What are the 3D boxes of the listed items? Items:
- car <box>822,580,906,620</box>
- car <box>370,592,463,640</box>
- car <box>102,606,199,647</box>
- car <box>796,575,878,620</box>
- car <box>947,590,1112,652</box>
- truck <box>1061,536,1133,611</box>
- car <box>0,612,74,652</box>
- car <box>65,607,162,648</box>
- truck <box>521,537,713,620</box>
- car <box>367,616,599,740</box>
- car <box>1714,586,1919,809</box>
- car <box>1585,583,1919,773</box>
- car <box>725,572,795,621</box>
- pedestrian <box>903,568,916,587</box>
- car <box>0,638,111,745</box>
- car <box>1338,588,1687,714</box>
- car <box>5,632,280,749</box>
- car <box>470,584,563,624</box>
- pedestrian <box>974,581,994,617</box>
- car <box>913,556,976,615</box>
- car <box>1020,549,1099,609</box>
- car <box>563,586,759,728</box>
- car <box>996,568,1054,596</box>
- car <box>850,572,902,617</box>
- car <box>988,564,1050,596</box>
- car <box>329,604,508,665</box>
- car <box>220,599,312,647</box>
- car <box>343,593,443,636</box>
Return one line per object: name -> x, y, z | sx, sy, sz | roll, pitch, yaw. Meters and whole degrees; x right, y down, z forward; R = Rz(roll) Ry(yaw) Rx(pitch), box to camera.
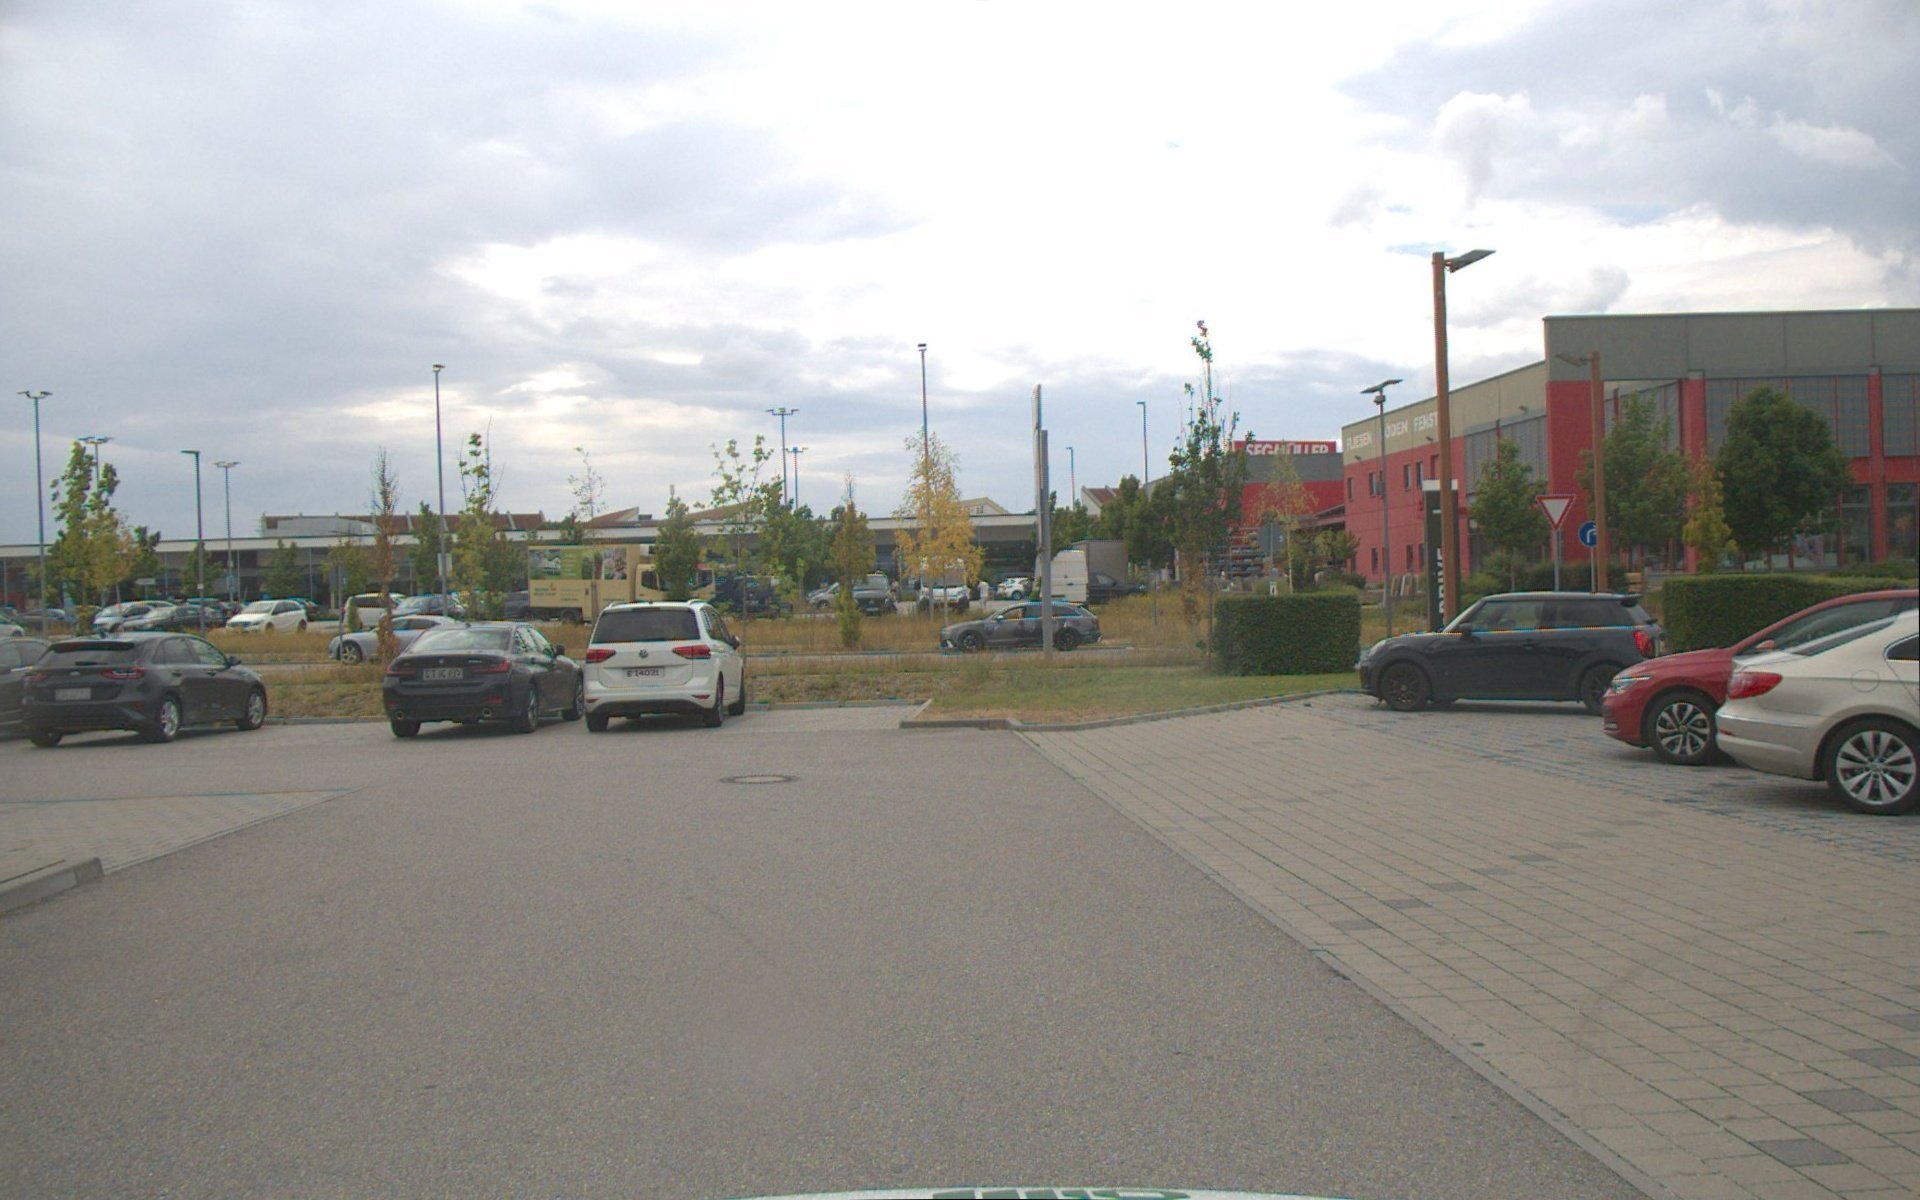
car -> -4.594, -0.014, 79.443 | 3.908, 1.768, 1.890 | -2, 2, -3
car -> -23.062, 0.643, 70.331 | 1.884, 1.802, 4.326 | -2, 2, 10
car -> -35.615, 1.154, 72.907 | 1.728, 1.566, 4.059 | -2, 2, 10
car -> -6.213, -0.152, 83.624 | 3.915, 2.048, 1.995 | -2, 2, -10
car -> 2.036, 0.609, 48.904 | 4.738, 1.579, 1.803 | -2, 2, 1
truck -> 7.380, -1.489, 89.947 | 2.596, 3.808, 8.251 | -2, 2, -4
car -> -42.241, 1.416, 74.143 | 1.952, 1.566, 4.162 | -1, 2, 19
car -> -37.738, 1.197, 73.839 | 1.728, 1.566, 4.059 | -2, 2, 10
truck -> -14.476, -0.882, 69.579 | 8.260, 3.251, 3.020 | -1, 2, 35
car -> -6.412, 1.025, 22.778 | 1.902, 1.492, 4.515 | -1, -2, -1
car -> 7.476, 0.617, 10.830 | 4.370, 1.437, 1.747 | -1, 0, 36
car -> 7.557, 0.612, 14.032 | 3.922, 1.490, 1.680 | -1, 0, 38
car -> -8.287, -0.139, 69.101 | 2.028, 1.917, 5.072 | -1, 0, 3
pedestrian -> -3.885, -1.725, 128.008 | 0.647, 1.454, 0.787 | -3, 2, -40
car -> -14.185, 1.300, 23.373 | 1.866, 1.482, 4.742 | -1, -2, 1
car -> 6.889, 0.596, 20.751 | 3.849, 1.437, 1.682 | -1, 0, 34
car -> -11.226, 1.206, 23.054 | 1.844, 1.437, 4.069 | -1, -2, -1
car -> -22.868, 0.194, 85.373 | 4.221, 1.802, 1.999 | -2, 2, -3
pedestrian -> 0.992, -0.046, 68.214 | 0.769, 1.454, 0.978 | -2, 2, -1
car -> -0.715, -0.661, 68.860 | 2.360, 2.252, 6.057 | -1, 2, -3
car -> 4.069, -0.920, 68.836 | 2.292, 2.307, 6.500 | -2, 2, -5
car -> -4.023, 0.772, 22.974 | 1.945, 1.743, 4.371 | -1, -2, -1
car -> 4.521, -1.269, 115.692 | 3.905, 1.766, 1.934 | -2, 2, 0
car -> -3.443, -0.259, 68.360 | 2.029, 1.667, 5.068 | -1, 2, -3
car -> 3.797, -1.305, 107.117 | 3.905, 1.869, 2.000 | -2, 2, 0
car -> -16.309, 1.033, 49.919 | 4.737, 1.579, 1.803 | -2, 2, 3
car -> -30.130, 0.979, 71.945 | 1.952, 1.802, 4.323 | -2, 2, 2
car -> -26.048, 0.670, 76.033 | 3.903, 1.802, 2.001 | -1, 2, 18
